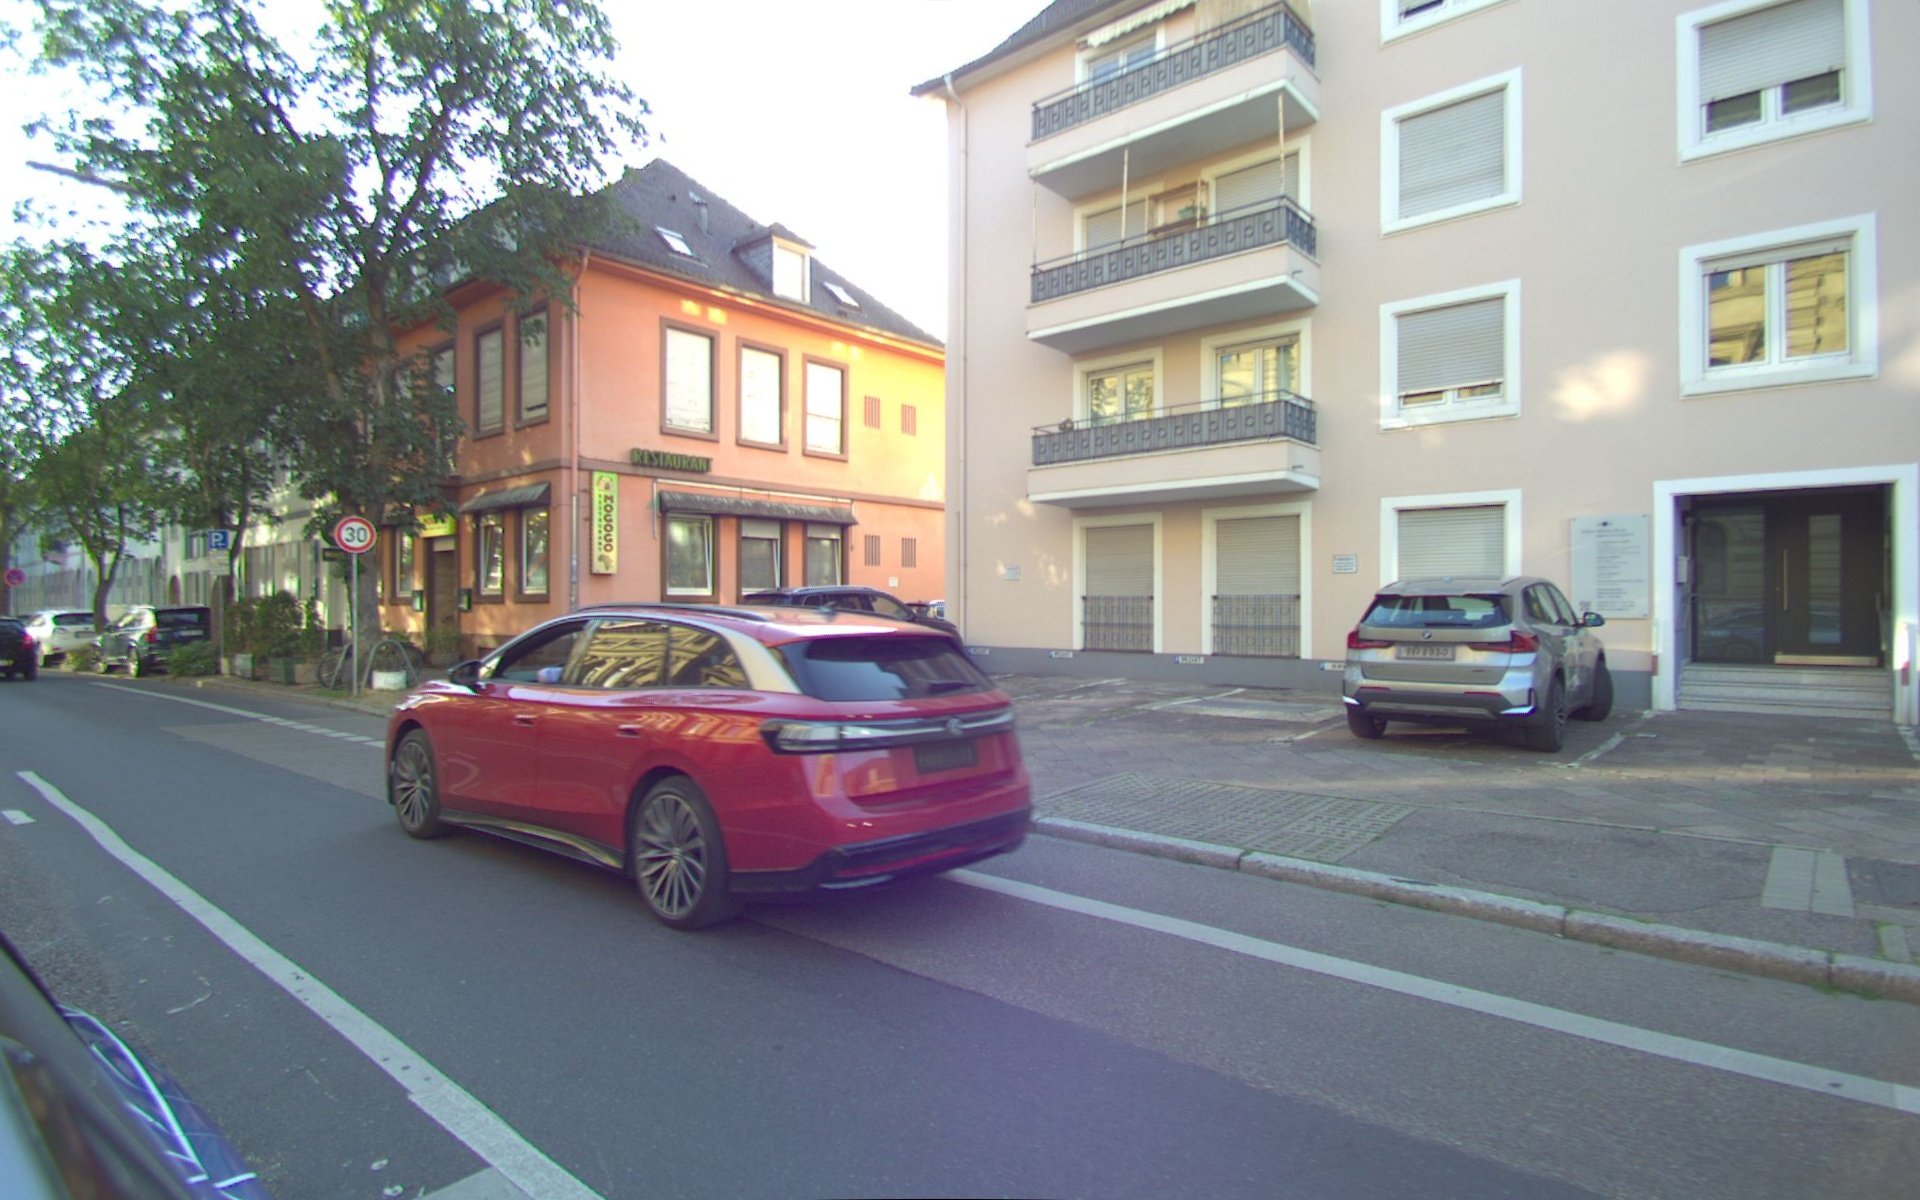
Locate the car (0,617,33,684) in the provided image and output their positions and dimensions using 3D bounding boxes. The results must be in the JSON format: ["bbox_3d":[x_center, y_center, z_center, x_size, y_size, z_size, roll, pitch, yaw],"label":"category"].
[{"bbox_3d":[-23.082,1.164,23.586,3.850,1.483,1.641,-2,-3,39],"label":"car"}]

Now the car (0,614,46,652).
[{"bbox_3d":[-44.228,1.474,45.658,1.798,1.702,4.178,-1,-1,38],"label":"car"}]

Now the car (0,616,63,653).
[{"bbox_3d":[-41.966,1.505,44.098,1.801,1.557,4.172,-1,-1,43],"label":"car"}]

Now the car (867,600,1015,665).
[{"bbox_3d":[-0.431,0.791,26.263,1.884,1.567,3.762,-1,-1,39],"label":"car"}]

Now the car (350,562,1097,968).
[{"bbox_3d":[-1.723,0.700,6.128,4.841,1.557,1.813,-1,-2,39],"label":"car"}]

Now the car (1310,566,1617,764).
[{"bbox_3d":[5.414,0.489,10.555,1.914,1.617,4.374,-1,1,39],"label":"car"}]

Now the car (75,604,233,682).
[{"bbox_3d":[-21.162,1.063,26.499,5.037,1.772,1.813,-1,3,35],"label":"car"}]

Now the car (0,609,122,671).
[{"bbox_3d":[-28.083,1.206,31.512,4.645,1.680,1.813,-1,3,35],"label":"car"}]

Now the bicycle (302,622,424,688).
[{"bbox_3d":[-10.874,0.978,18.493,0.609,1.112,1.850,-1,0,34],"label":"bicycle"}]

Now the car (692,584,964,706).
[{"bbox_3d":[-2.048,0.632,16.801,1.862,1.678,4.374,-1,1,39],"label":"car"}]
